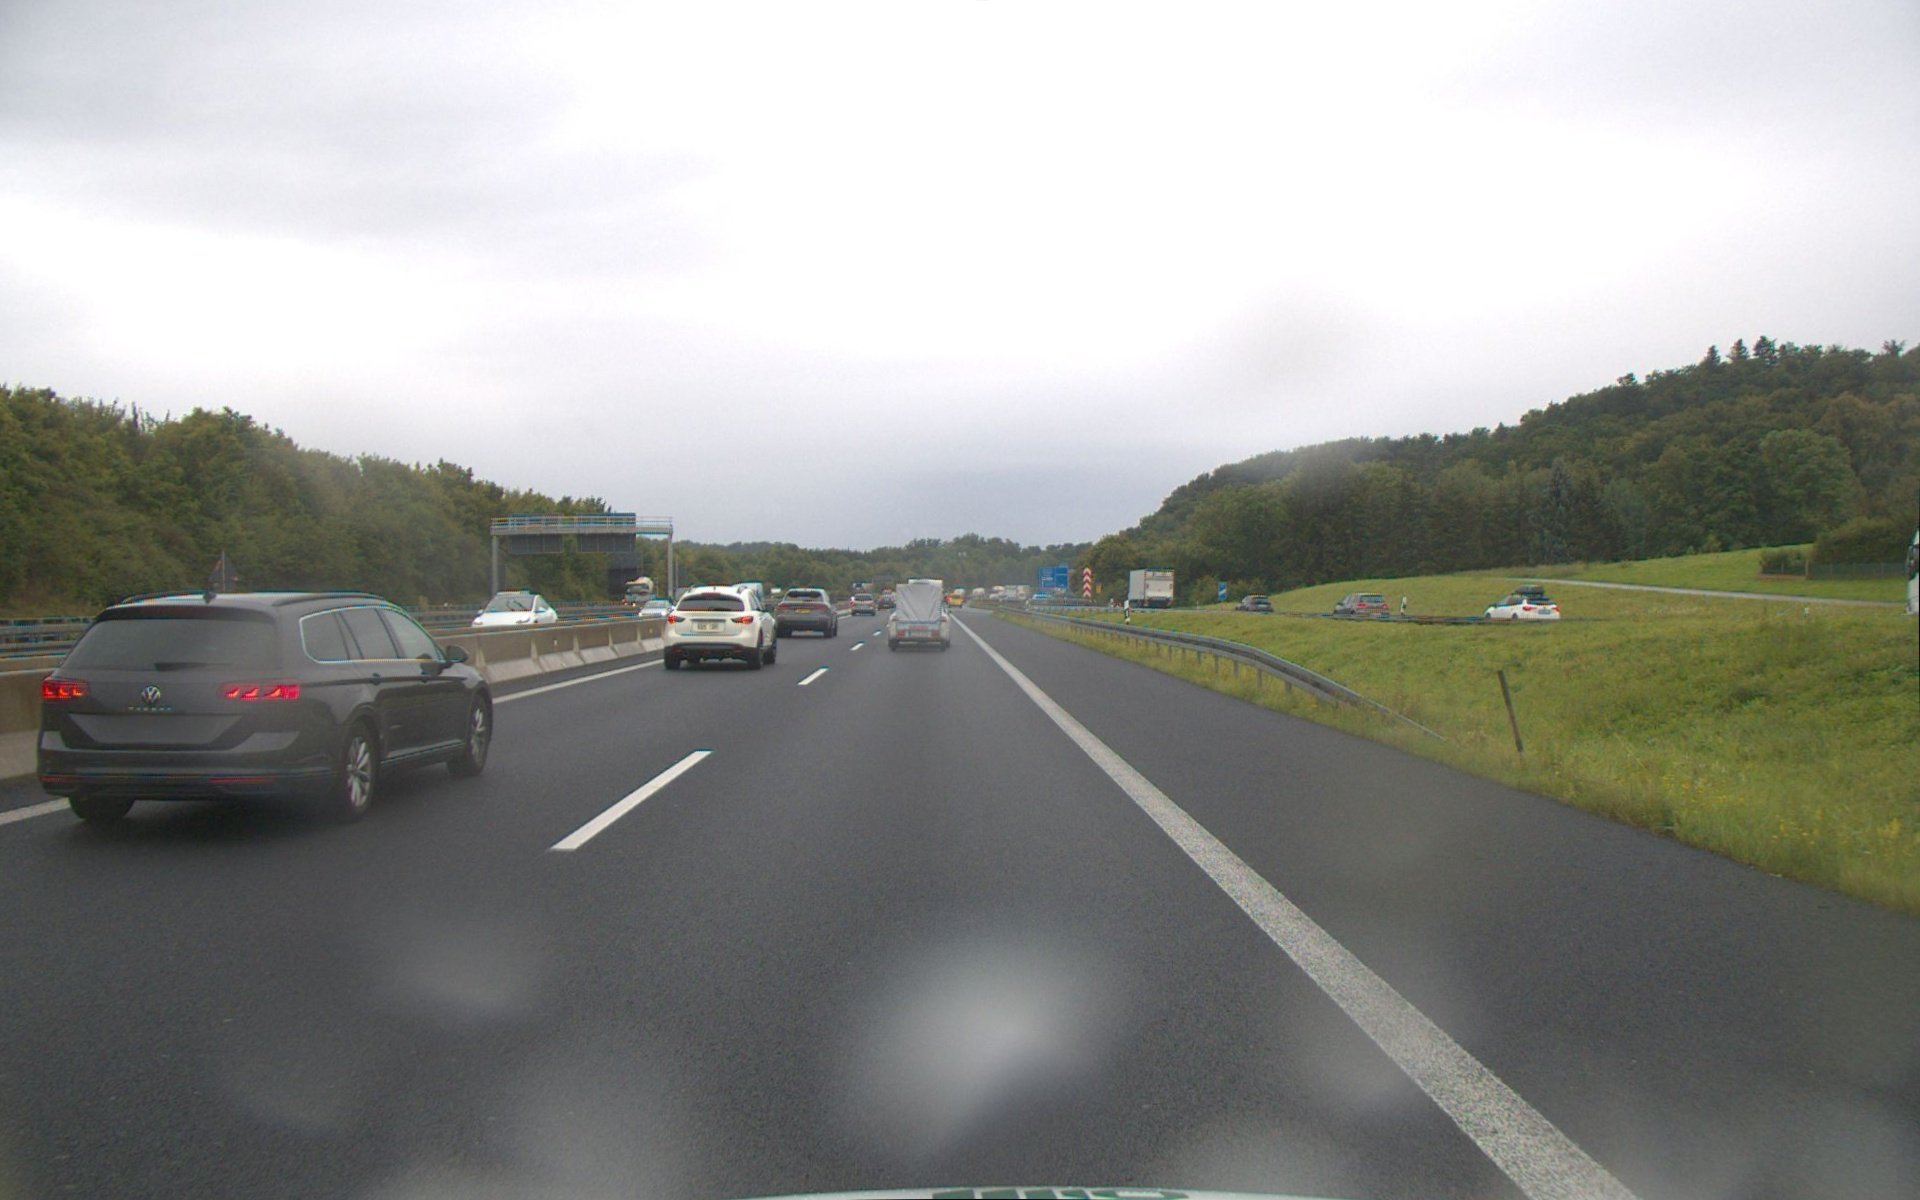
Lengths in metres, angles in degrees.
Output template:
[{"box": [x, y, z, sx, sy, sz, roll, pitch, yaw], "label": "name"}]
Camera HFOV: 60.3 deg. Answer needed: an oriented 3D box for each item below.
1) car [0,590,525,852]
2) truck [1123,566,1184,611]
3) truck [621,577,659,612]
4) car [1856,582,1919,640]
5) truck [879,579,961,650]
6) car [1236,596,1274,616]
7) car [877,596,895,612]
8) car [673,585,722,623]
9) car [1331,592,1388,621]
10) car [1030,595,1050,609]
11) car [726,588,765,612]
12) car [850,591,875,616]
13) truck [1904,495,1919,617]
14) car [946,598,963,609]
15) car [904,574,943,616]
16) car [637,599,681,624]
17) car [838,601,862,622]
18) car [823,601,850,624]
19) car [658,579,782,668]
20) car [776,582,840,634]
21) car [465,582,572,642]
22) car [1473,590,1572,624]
[{"box": [-4.648, 0.685, 11.837, 1.750, 1.484, 4.802, 0, 0, 0], "label": "car"}, {"box": [16.907, -0.993, 145.059, 3.750, 3.723, 8.264, 1, 0, -5], "label": "truck"}, {"box": [-35.078, -0.648, 181.655, 2.631, 3.725, 9.554, -1, 0, -2], "label": "truck"}, {"box": [23.993, 0.274, 39.465, 1.948, 1.401, 5.312, 0, 0, -6], "label": "car"}, {"box": [-1.185, 0.384, 47.724, 2.197, 1.871, 6.582, 1, 0, -2], "label": "truck"}, {"box": [20.102, 0.394, 112.722, 1.664, 1.311, 3.530, 1, 0, -6], "label": "car"}, {"box": [-7.390, 0.377, 165.677, 1.612, 1.601, 3.999, 1, 0, -1], "label": "car"}, {"box": [-13.694, 0.202, 86.541, 1.953, 1.868, 4.677, 1, 0, -2], "label": "car"}, {"box": [19.068, 0.326, 78.994, 1.510, 1.311, 3.529, 1, 0, -7], "label": "car"}, {"box": [9.556, 0.271, 197.494, 1.954, 1.579, 3.997, 1, 0, -3], "label": "car"}, {"box": [-15.472, -0.006, 119.385, 2.311, 1.722, 5.903, 0, 0, -3], "label": "car"}, {"box": [-7.323, 0.228, 124.473, 1.703, 1.825, 3.999, 1, 0, -1], "label": "car"}, {"box": [30.073, -1.272, 46.724, 2.883, 3.588, 5.917, 1, 0, -8], "label": "truck"}, {"box": [-0.810, 0.501, 232.087, 1.955, 1.579, 3.995, 1, 0, -6], "label": "car"}, {"box": [-2.501, -0.321, 111.768, 2.285, 2.773, 6.534, 0, 0, -4], "label": "car"}, {"box": [-18.600, 0.677, 102.467, 1.953, 1.460, 4.678, 1, 0, -1], "label": "car"}, {"box": [-9.200, 0.970, 138.532, 1.782, 1.691, 4.016, 0, 0, -1], "label": "car"}, {"box": [-9.305, 0.945, 125.267, 1.782, 1.691, 4.016, 0, 0, -1], "label": "car"}, {"box": [-4.900, 0.445, 34.347, 2.007, 1.700, 4.539, 1, 0, -2], "label": "car"}, {"box": [-5.421, 0.270, 59.400, 1.936, 1.733, 4.801, 1, 0, -1], "label": "car"}, {"box": [-13.885, 0.367, 52.317, 2.112, 1.796, 4.959, 0, 0, -1], "label": "car"}, {"box": [24.272, 0.312, 71.616, 1.949, 1.401, 5.068, 0, 0, -9], "label": "car"}]
